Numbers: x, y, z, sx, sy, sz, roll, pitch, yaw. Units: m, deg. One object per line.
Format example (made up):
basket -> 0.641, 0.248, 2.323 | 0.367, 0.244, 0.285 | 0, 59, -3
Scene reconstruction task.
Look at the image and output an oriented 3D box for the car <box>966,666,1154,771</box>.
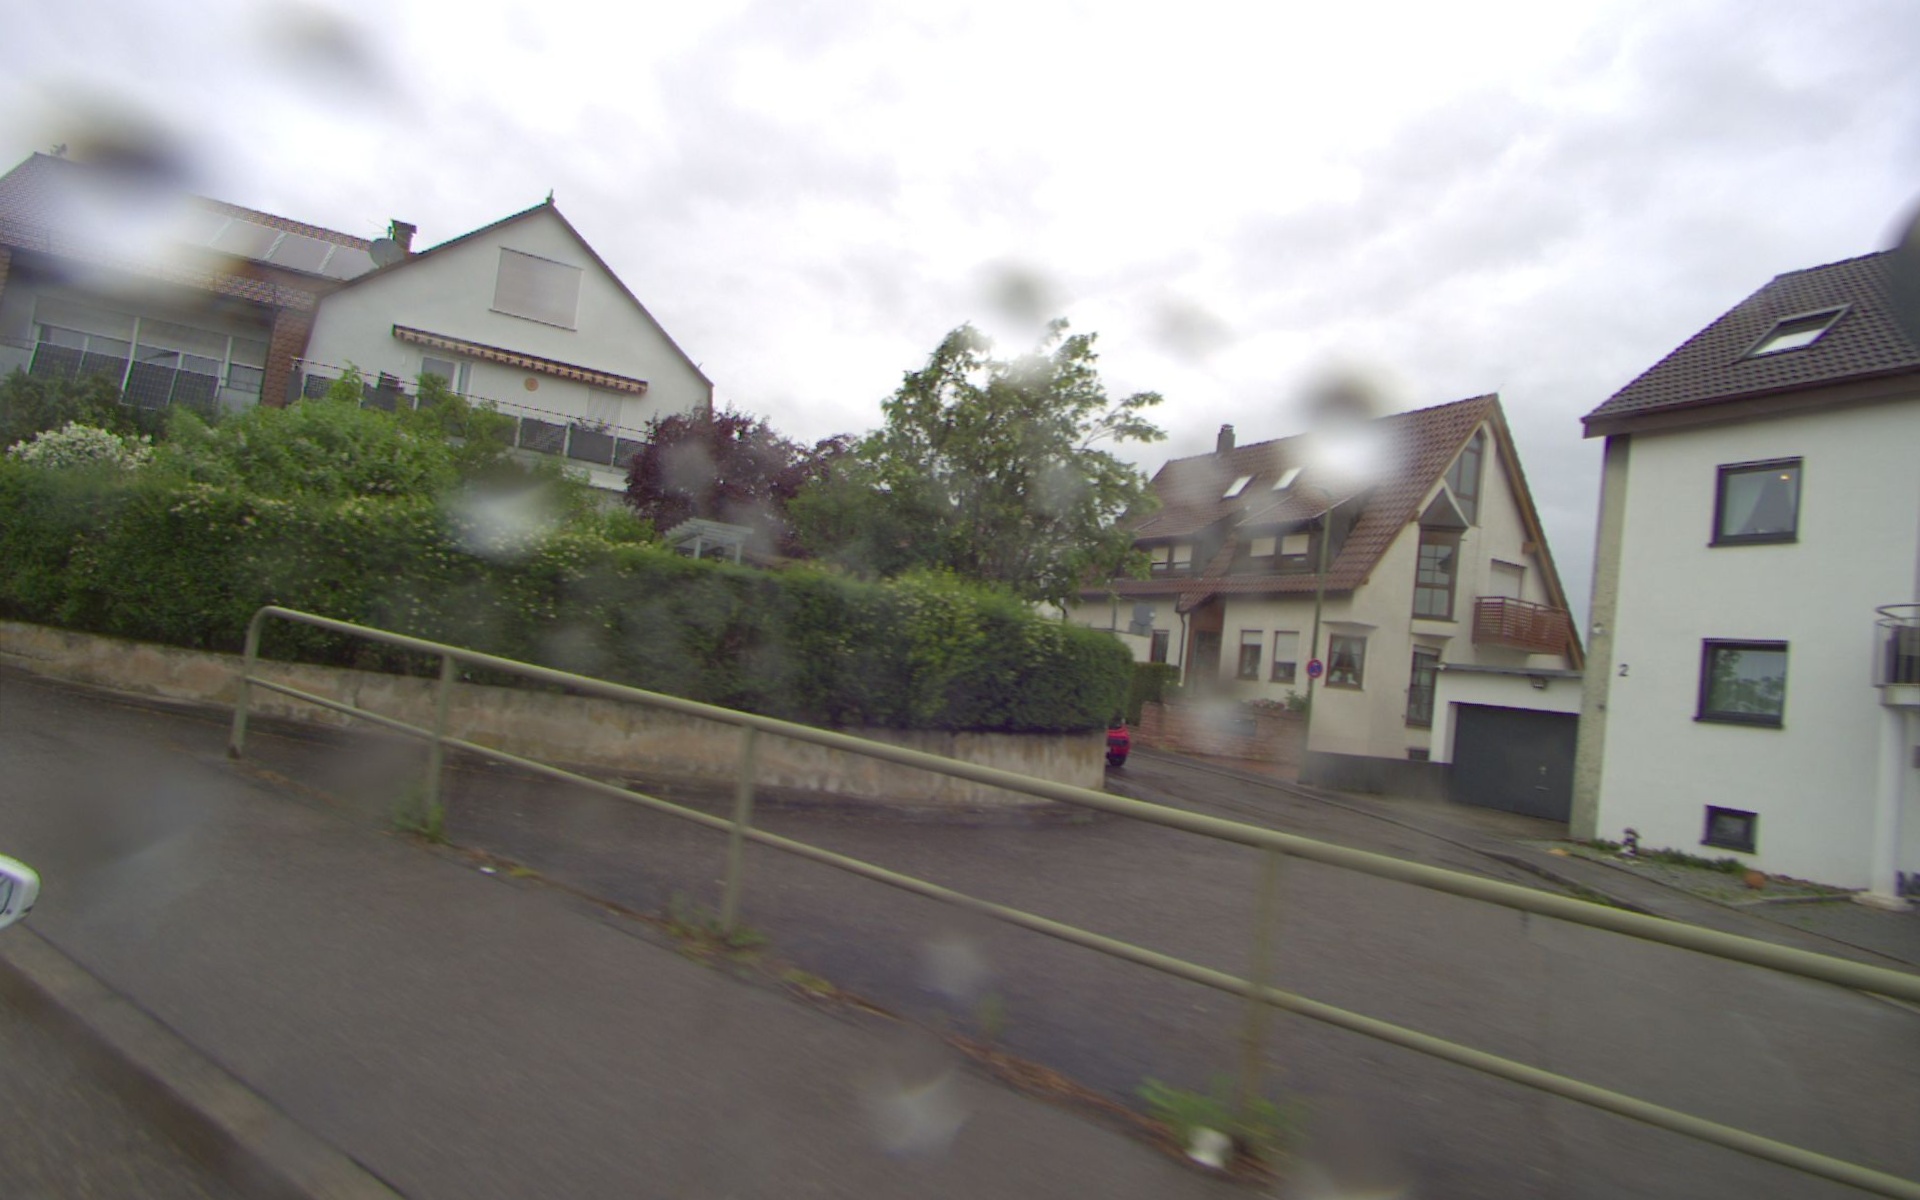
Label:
car -> 2.030, 2.490, 21.761 | 2.005, 1.554, 4.193 | 9, -2, -26
